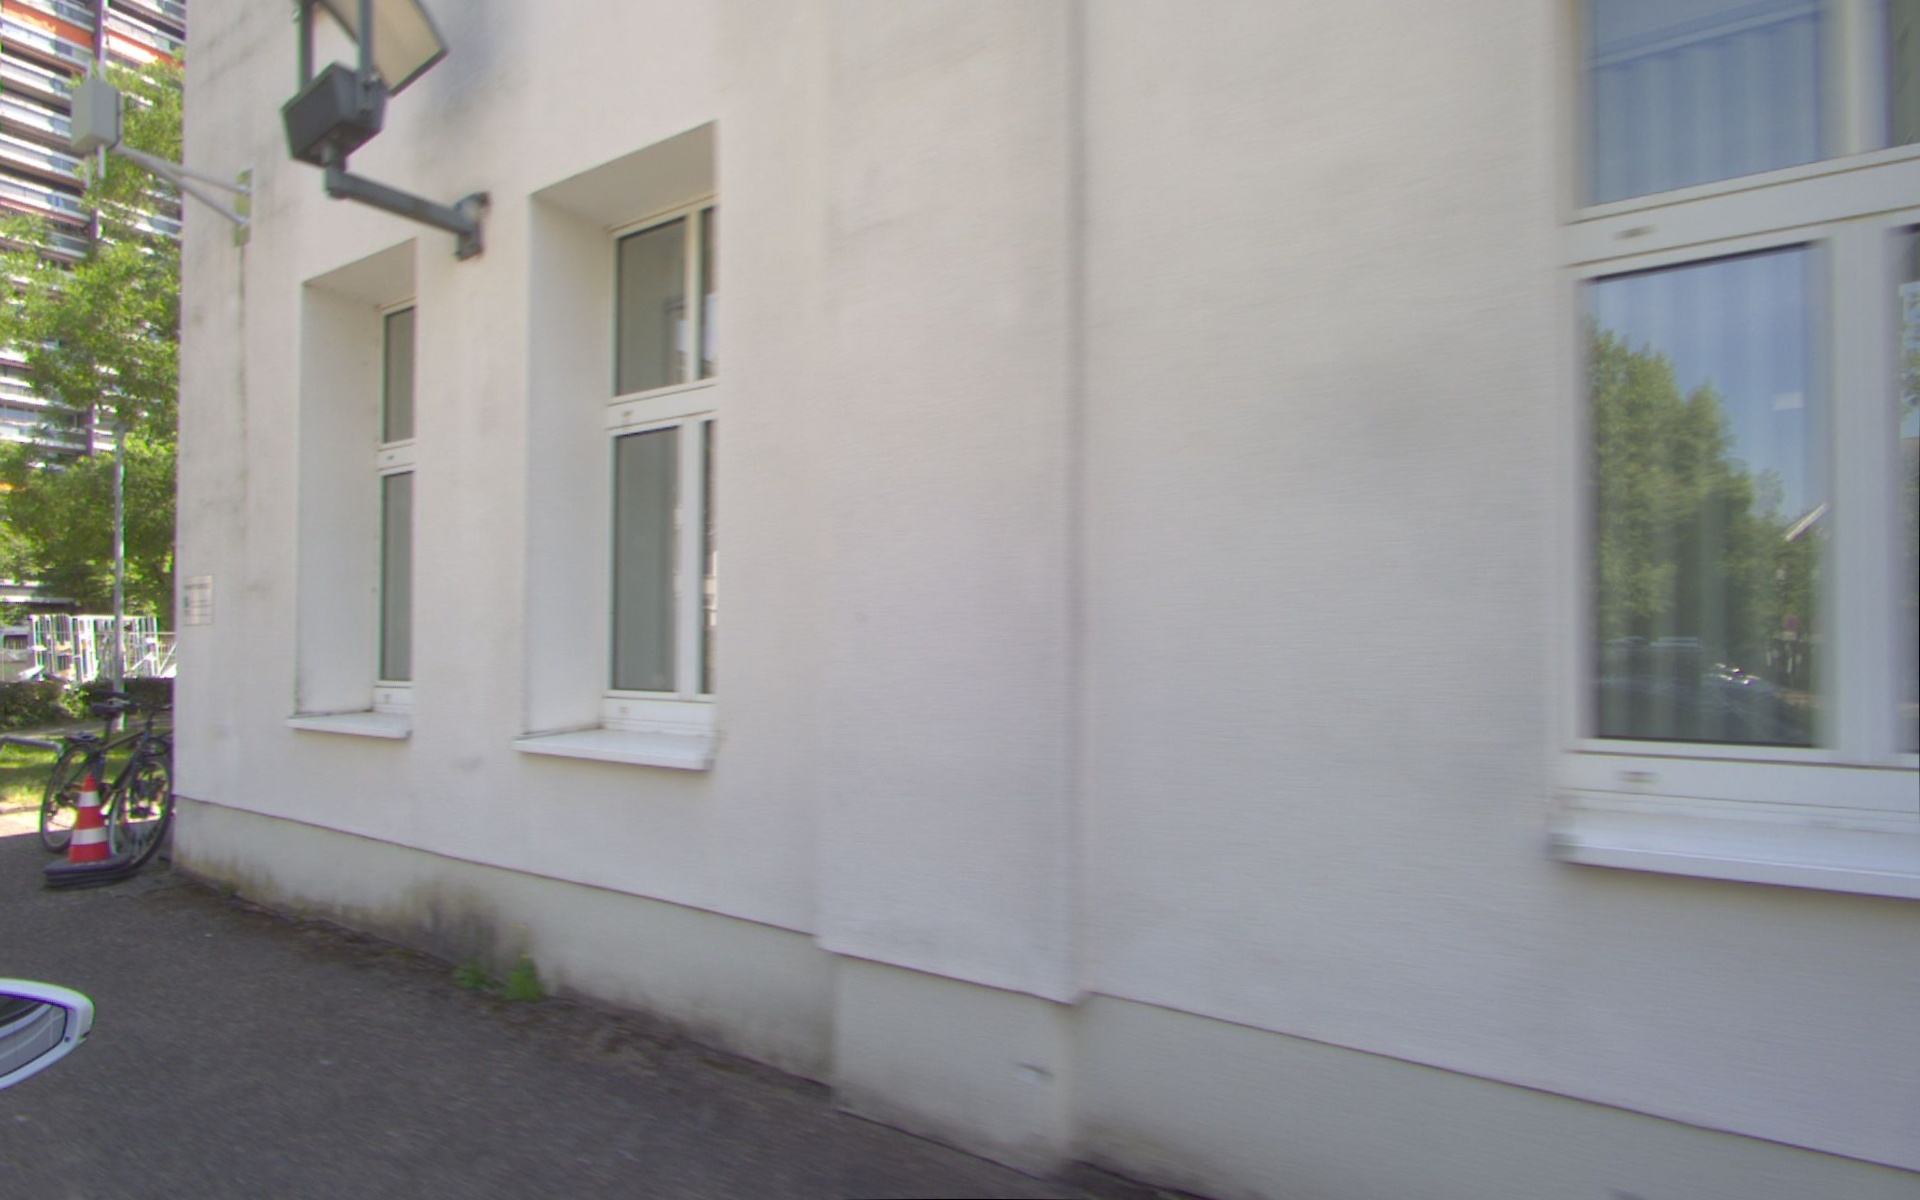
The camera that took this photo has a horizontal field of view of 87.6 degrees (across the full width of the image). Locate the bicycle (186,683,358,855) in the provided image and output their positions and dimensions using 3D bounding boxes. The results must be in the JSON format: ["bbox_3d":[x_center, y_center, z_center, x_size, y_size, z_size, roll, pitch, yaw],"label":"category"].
[{"bbox_3d":[-5.117,1.189,7.408,1.801,1.115,0.404,-2,-3,34],"label":"bicycle"}]

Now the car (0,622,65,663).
[{"bbox_3d":[-53.959,2.513,58.296,2.164,2.286,4.838,1,-3,-35],"label":"car"}]

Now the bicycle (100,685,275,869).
[{"bbox_3d":[-5.423,1.170,6.994,1.801,1.115,0.404,-2,-3,34],"label":"bicycle"}]

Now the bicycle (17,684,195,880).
[{"bbox_3d":[-5.635,1.127,6.574,1.801,1.115,0.404,-2,-3,34],"label":"bicycle"}]
